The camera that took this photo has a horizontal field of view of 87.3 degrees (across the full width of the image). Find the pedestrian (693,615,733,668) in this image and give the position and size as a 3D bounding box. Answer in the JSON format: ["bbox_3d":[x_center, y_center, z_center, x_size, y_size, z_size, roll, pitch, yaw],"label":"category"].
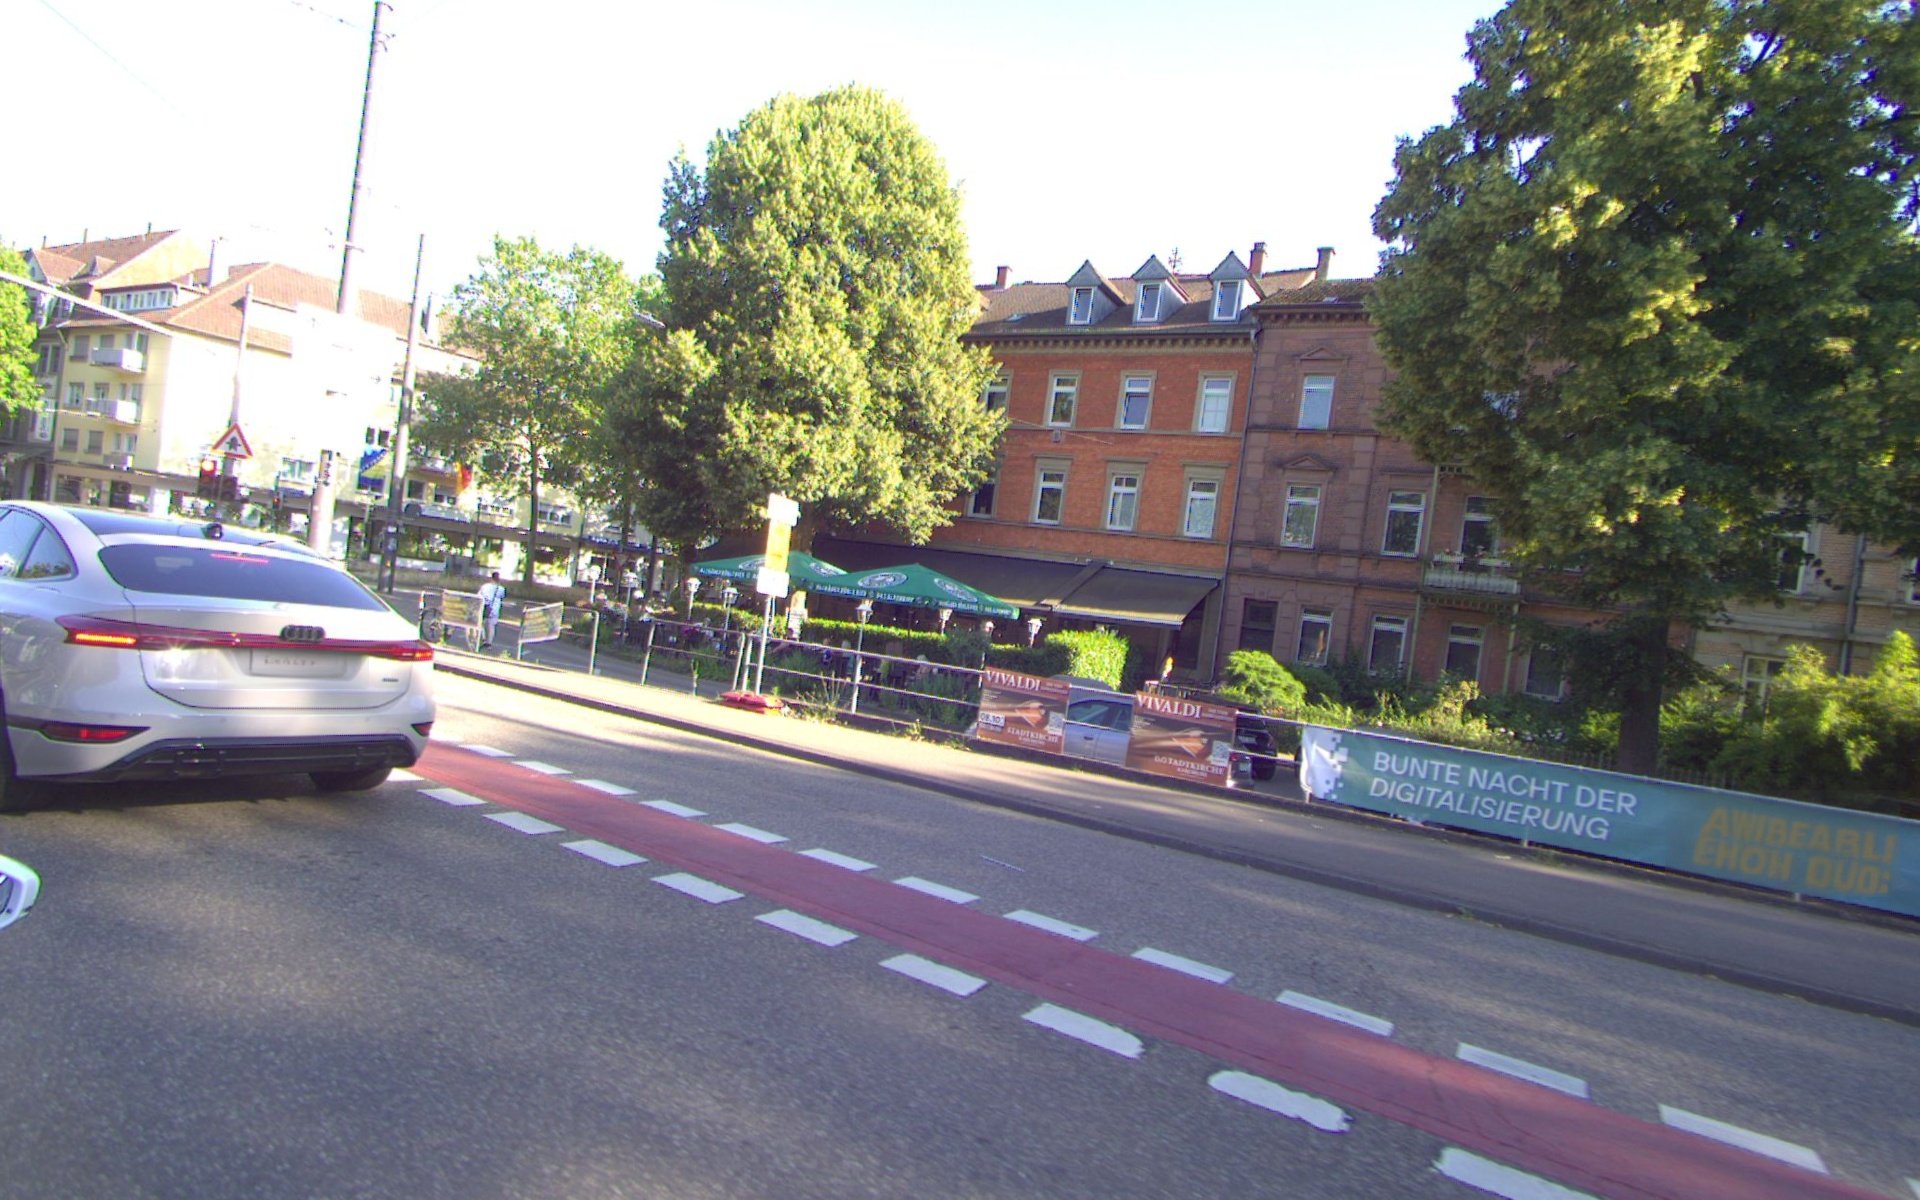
[{"bbox_3d":[-6.849,1.159,27.885,0.621,1.352,0.650,7,-3,32],"label":"pedestrian"}]

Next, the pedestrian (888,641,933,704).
[{"bbox_3d":[-1.151,1.703,23.597,0.621,1.352,0.650,7,-3,32],"label":"pedestrian"}]

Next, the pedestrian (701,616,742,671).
[{"bbox_3d":[-6.381,1.176,26.906,0.621,1.352,0.650,7,-3,32],"label":"pedestrian"}]

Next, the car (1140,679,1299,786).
[{"bbox_3d":[5.344,2.706,21.283,1.769,1.498,3.994,7,0,-7],"label":"car"}]

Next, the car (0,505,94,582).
[{"bbox_3d":[-21.244,-1.335,22.893,1.791,1.455,4.007,9,-2,-35],"label":"car"}]

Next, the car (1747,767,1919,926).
[{"bbox_3d":[14.463,3.836,15.080,1.768,1.756,3.995,7,0,-5],"label":"car"}]

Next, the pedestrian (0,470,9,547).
[{"bbox_3d":[-13.586,-0.881,13.671,0.666,1.894,0.658,7,0,31],"label":"pedestrian"}]

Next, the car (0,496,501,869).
[{"bbox_3d":[-5.224,0.207,6.198,4.774,1.490,1.932,7,-1,32],"label":"car"}]

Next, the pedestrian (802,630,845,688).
[{"bbox_3d":[-3.446,1.490,25.417,0.621,1.352,0.650,7,-3,32],"label":"pedestrian"}]

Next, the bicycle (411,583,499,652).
[{"bbox_3d":[-9.375,0.315,18.653,1.770,1.087,0.499,6,-2,32],"label":"bicycle"}]

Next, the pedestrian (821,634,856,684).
[{"bbox_3d":[-3.388,1.655,28.071,0.604,1.275,0.633,8,-2,14],"label":"pedestrian"}]

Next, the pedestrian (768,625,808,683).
[{"bbox_3d":[-4.389,1.379,25.627,0.643,1.352,0.628,10,-3,-28],"label":"pedestrian"}]

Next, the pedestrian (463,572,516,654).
[{"bbox_3d":[-9.680,0.265,20.708,0.646,1.580,0.625,10,-3,-39],"label":"pedestrian"}]

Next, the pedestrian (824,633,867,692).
[{"bbox_3d":[-2.830,1.544,24.862,0.621,1.352,0.650,7,-3,32],"label":"pedestrian"}]

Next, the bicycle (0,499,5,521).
[{"bbox_3d":[-51.138,-4.816,53.155,1.772,1.121,0.609,7,0,36],"label":"bicycle"}]

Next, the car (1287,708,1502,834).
[{"bbox_3d":[8.003,3.108,19.037,1.929,1.424,4.246,7,0,-3],"label":"car"}]

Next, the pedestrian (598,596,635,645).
[{"bbox_3d":[-10.479,0.625,30.712,0.621,1.352,0.650,7,-3,32],"label":"pedestrian"}]

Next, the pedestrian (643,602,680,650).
[{"bbox_3d":[-9.198,0.802,30.997,0.621,1.352,0.650,7,-3,32],"label":"pedestrian"}]

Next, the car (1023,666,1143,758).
[{"bbox_3d":[2.638,2.414,22.524,1.748,1.365,3.995,7,0,-5],"label":"car"}]

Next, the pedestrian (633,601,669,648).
[{"bbox_3d":[-9.761,0.765,31.798,0.621,1.352,0.650,7,-3,32],"label":"pedestrian"}]

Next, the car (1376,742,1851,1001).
[{"bbox_3d":[7.114,2.892,11.517,4.136,1.823,1.800,6,-2,25],"label":"car"}]

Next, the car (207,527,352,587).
[{"bbox_3d":[-23.767,-1.451,35.346,1.766,1.528,4.004,8,-1,11],"label":"car"}]

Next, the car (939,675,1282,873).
[{"bbox_3d":[2.090,2.320,14.287,4.285,1.920,1.798,6,-2,30],"label":"car"}]
